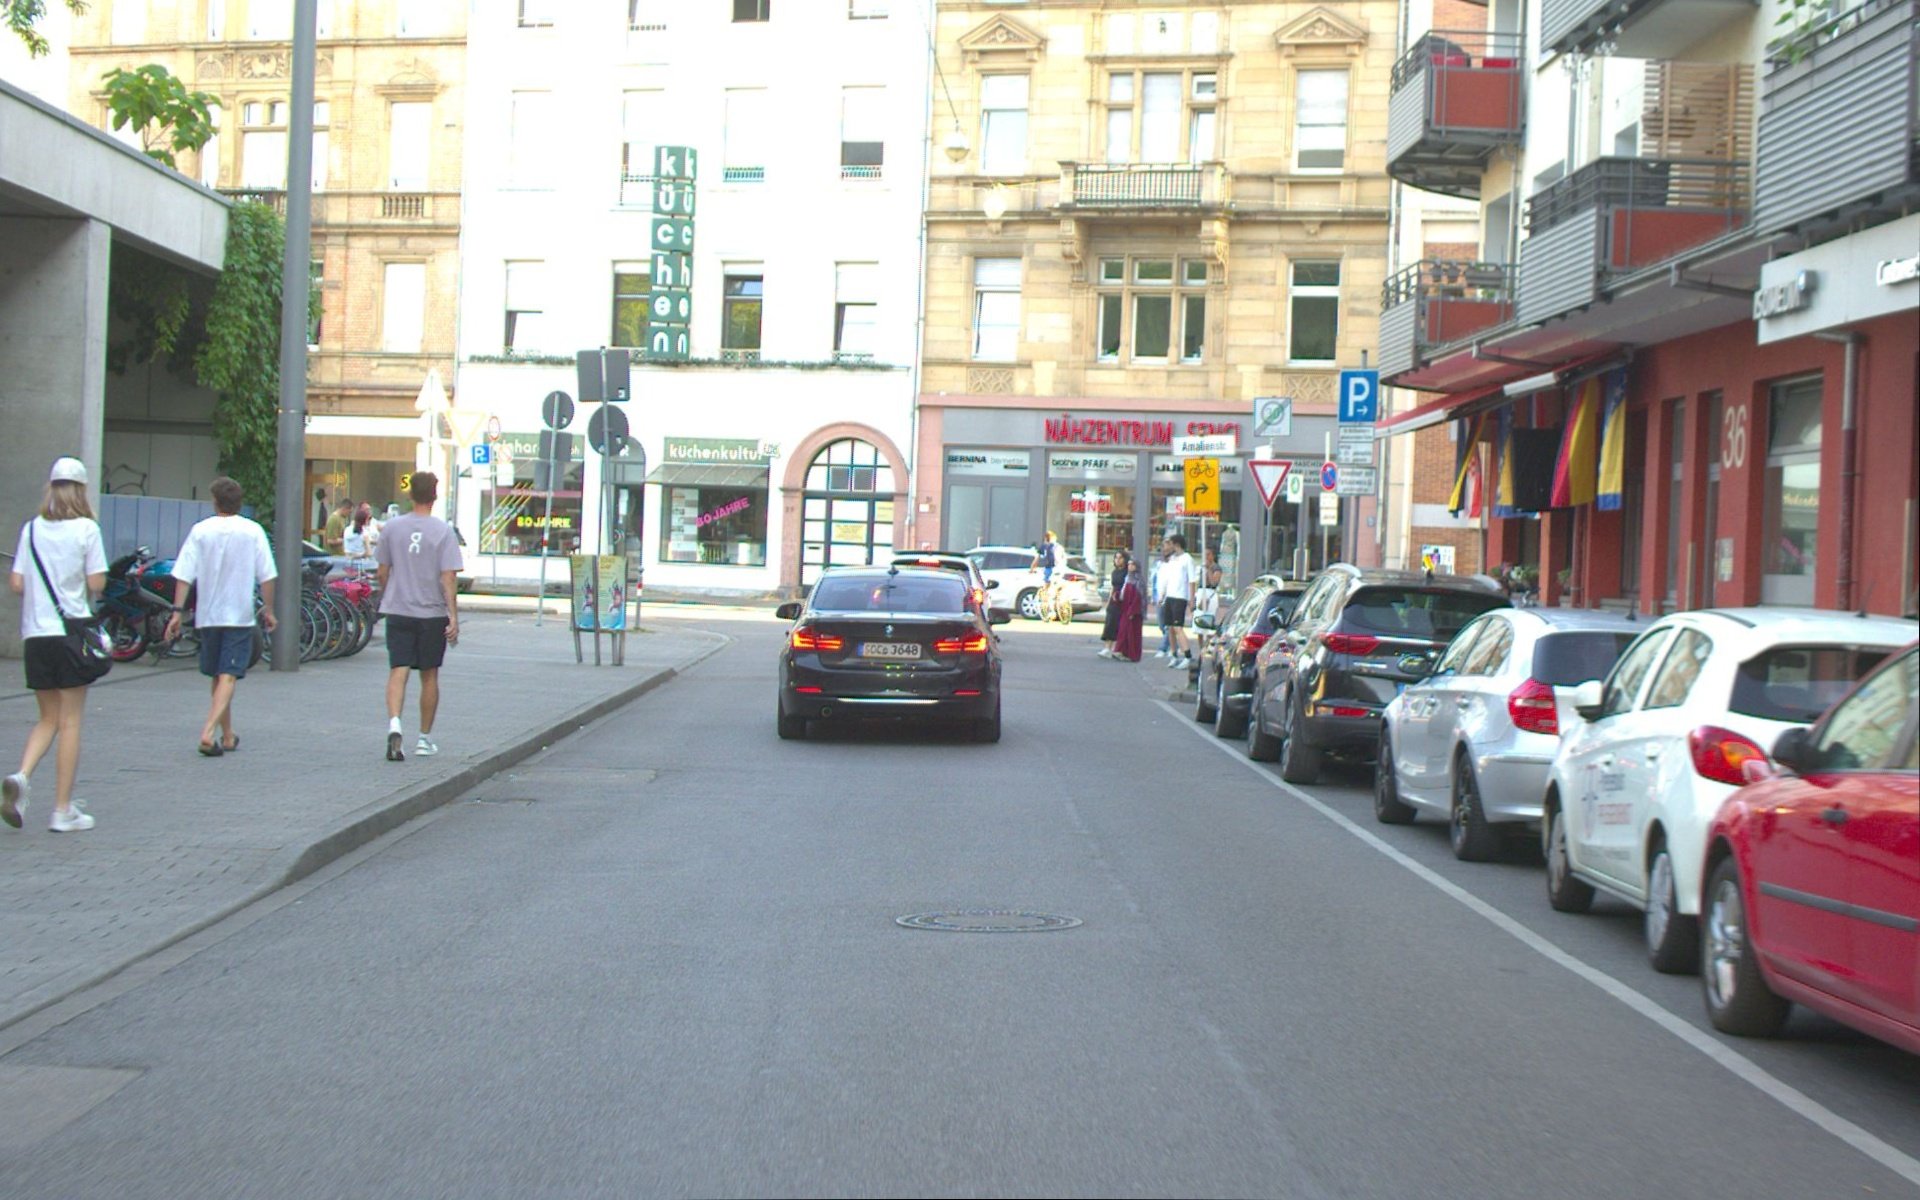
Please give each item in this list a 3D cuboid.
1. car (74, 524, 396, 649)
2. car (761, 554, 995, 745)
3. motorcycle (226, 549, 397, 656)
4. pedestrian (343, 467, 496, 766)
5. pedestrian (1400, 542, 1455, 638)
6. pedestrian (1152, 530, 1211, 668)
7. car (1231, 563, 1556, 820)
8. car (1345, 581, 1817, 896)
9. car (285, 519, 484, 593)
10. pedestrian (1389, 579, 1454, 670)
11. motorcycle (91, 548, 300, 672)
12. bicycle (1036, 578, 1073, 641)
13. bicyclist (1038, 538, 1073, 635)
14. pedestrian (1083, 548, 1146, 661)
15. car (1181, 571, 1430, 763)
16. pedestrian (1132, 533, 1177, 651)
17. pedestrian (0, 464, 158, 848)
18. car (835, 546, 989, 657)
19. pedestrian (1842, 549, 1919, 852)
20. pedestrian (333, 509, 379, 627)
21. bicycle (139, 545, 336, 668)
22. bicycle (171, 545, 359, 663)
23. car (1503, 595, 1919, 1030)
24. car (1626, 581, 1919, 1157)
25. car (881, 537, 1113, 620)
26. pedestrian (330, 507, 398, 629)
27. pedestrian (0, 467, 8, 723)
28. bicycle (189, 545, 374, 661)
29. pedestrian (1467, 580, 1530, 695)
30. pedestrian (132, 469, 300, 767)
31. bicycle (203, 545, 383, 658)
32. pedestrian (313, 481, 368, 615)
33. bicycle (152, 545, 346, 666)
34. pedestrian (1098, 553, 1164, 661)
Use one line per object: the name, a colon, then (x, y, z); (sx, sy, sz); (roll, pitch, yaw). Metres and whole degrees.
car: (-9.444, -0.189, 45.071); (3.986, 1.496, 1.892); (1, 1, -8)
car: (-0.642, 0.351, 29.185); (1.765, 1.370, 4.791); (3, 1, 0)
motorcycle: (-7.297, 0.033, 38.707); (1.745, 1.097, 0.567); (3, 1, -34)
pedestrian: (-3.552, 0.096, 22.668); (0.744, 1.887, 1.050); (3, 1, 0)
pedestrian: (5.915, -0.124, 43.508); (0.417, 1.197, 0.537); (-2, 1, -43)
pedestrian: (3.063, -0.015, 47.573); (0.676, 1.871, 0.701); (3, 1, 8)
car: (3.264, 0.625, 26.784); (1.765, 1.636, 4.791); (4, 1, -1)
car: (3.505, 0.716, 20.247); (1.698, 1.447, 4.459); (4, 1, -2)
car: (-12.849, -0.985, 76.749); (3.992, 1.505, 1.798); (2, 0, 22)
pedestrian: (6.606, 0.343, 49.203); (0.618, 1.274, 0.699); (2, 1, 37)
motorcycle: (-7.267, 0.094, 32.673); (1.803, 1.060, 0.763); (4, 1, 25)
bicycle: (1.730, 0.160, 63.153); (0.536, 1.104, 1.800); (3, 1, -2)
bicyclist: (1.755, -0.251, 63.127); (0.523, 1.750, 0.620); (3, 1, -2)
pedestrian: (2.273, 0.060, 50.621); (0.724, 1.603, 0.650); (3, 1, -9)
car: (3.196, 0.570, 32.676); (1.765, 1.497, 4.791); (4, 1, 0)
pedestrian: (2.920, -0.127, 51.518); (0.605, 1.740, 0.669); (2, 1, 6)
pedestrian: (-4.270, 0.244, 16.305); (0.649, 1.744, 0.986); (3, 1, -1)
car: (-0.644, -0.010, 49.231); (1.878, 1.468, 4.000); (2, 1, 3)
pedestrian: (5.340, 0.546, 19.207); (0.648, 1.655, 0.655); (-1, 1, 1)
pedestrian: (-8.462, -0.449, 48.164); (0.500, 1.637, 0.520); (2, 1, 2)
bicycle: (-7.164, 0.059, 34.107); (1.794, 1.104, 0.500); (4, 1, -1)
bicycle: (-7.161, 0.041, 35.450); (1.794, 1.104, 0.500); (3, 1, -5)
car: (3.541, 0.828, 15.071); (1.606, 1.507, 4.048); (4, 1, 0)
car: (3.480, 0.801, 10.535); (1.712, 1.507, 4.652); (4, 1, -2)
car: (0.758, -0.444, 70.757); (4.357, 1.557, 1.866); (2, 0, 22)
pedestrian: (-8.615, -0.466, 49.678); (0.673, 1.740, 0.655); (2, 1, 39)
pedestrian: (-5.724, 0.127, 18.890); (0.717, 1.748, 0.848); (2, 1, -2)
bicycle: (-7.129, 0.032, 36.154); (1.794, 1.104, 0.500); (3, 1, -3)
pedestrian: (6.395, 0.442, 40.838); (0.606, 1.343, 0.696); (1, 1, -1)
pedestrian: (-4.725, 0.103, 21.899); (0.741, 1.806, 1.009); (4, 1, -1)
bicycle: (-7.188, 0.016, 37.081); (1.794, 1.104, 0.500); (4, 1, 0)
pedestrian: (-8.792, -0.737, 48.791); (0.583, 1.876, 0.633); (2, 1, 5)
bicycle: (-7.174, 0.049, 34.701); (1.794, 1.104, 0.500); (4, 1, 2)
pedestrian: (2.483, 0.102, 49.970); (0.735, 1.508, 0.650); (3, 1, -9)
